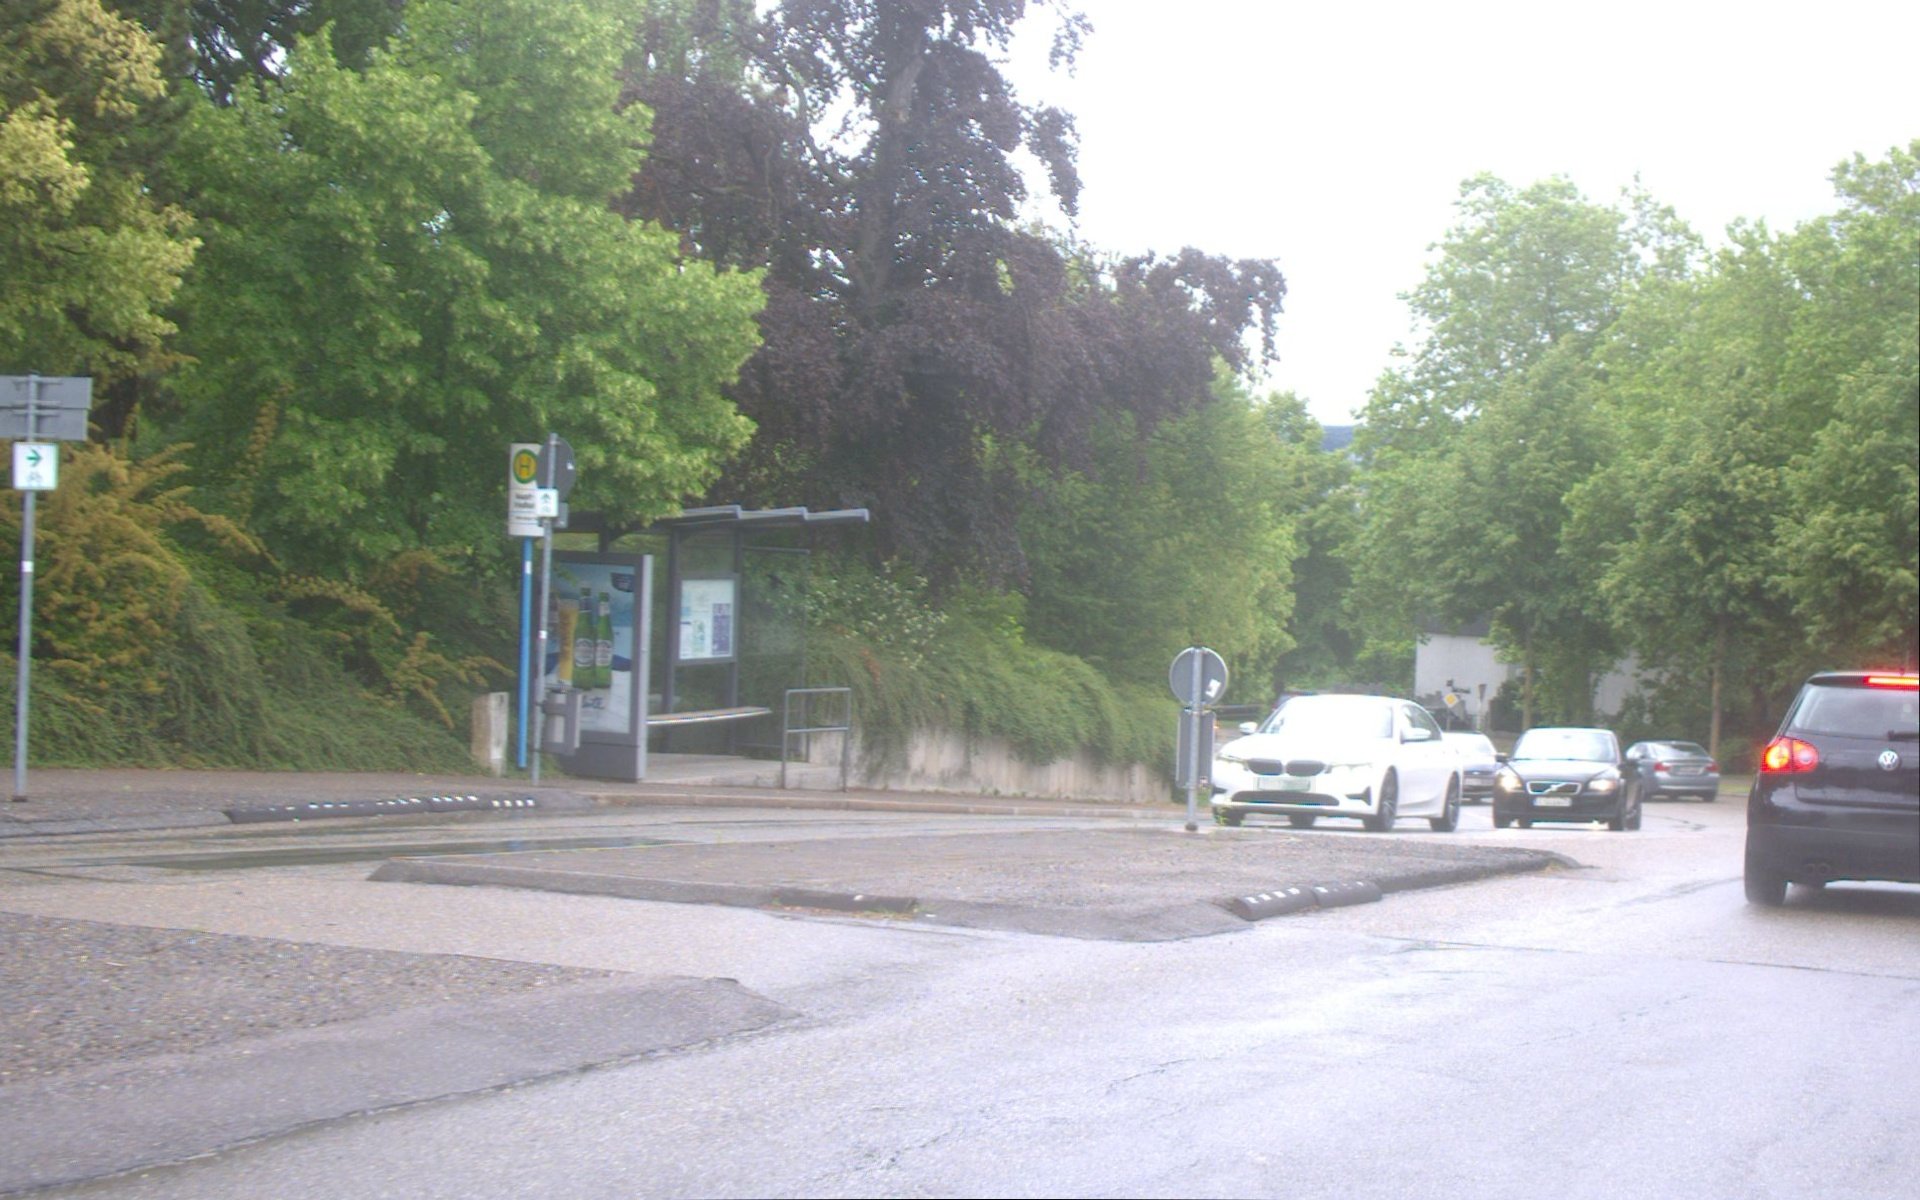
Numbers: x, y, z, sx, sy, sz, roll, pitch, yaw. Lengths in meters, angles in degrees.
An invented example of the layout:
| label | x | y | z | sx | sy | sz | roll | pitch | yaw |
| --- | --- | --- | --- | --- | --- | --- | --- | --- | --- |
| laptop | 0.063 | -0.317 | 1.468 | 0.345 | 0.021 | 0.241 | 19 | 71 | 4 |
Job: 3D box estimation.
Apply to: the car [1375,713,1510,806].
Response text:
| label | x | y | z | sx | sy | sz | roll | pitch | yaw |
| --- | --- | --- | --- | --- | --- | --- | --- | --- | --- |
| car | 10.856 | 3.580 | 77.667 | 2.065 | 1.833 | 4.001 | 2 | 0 | -6 |

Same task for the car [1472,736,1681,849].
| label | x | y | z | sx | sy | sz | roll | pitch | yaw |
| --- | --- | --- | --- | --- | --- | --- | --- | --- | --- |
| car | 8.617 | 2.657 | 47.762 | 1.911 | 1.388 | 4.509 | 2 | -2 | 22 |

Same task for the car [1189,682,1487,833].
| label | x | y | z | sx | sy | sz | roll | pitch | yaw |
| --- | --- | --- | --- | --- | --- | --- | --- | --- | --- |
| car | 4.070 | 1.693 | 36.336 | 1.911 | 1.388 | 4.509 | 3 | -2 | 22 |

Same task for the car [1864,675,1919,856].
| label | x | y | z | sx | sy | sz | roll | pitch | yaw |
| --- | --- | --- | --- | --- | --- | --- | --- | --- | --- |
| car | 10.508 | 1.745 | 36.298 | 1.766 | 1.795 | 4.243 | 1 | -2 | 14 |

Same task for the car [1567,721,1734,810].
| label | x | y | z | sx | sy | sz | roll | pitch | yaw |
| --- | --- | --- | --- | --- | --- | --- | --- | --- | --- |
| car | 16.033 | 3.830 | 80.012 | 2.064 | 1.833 | 4.001 | 2 | 0 | -18 |

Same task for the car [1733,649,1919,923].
| label | x | y | z | sx | sy | sz | roll | pitch | yaw |
| --- | --- | --- | --- | --- | --- | --- | --- | --- | --- |
| car | 6.062 | 1.155 | 21.819 | 1.766 | 1.533 | 3.996 | 3 | -1 | 19 |
